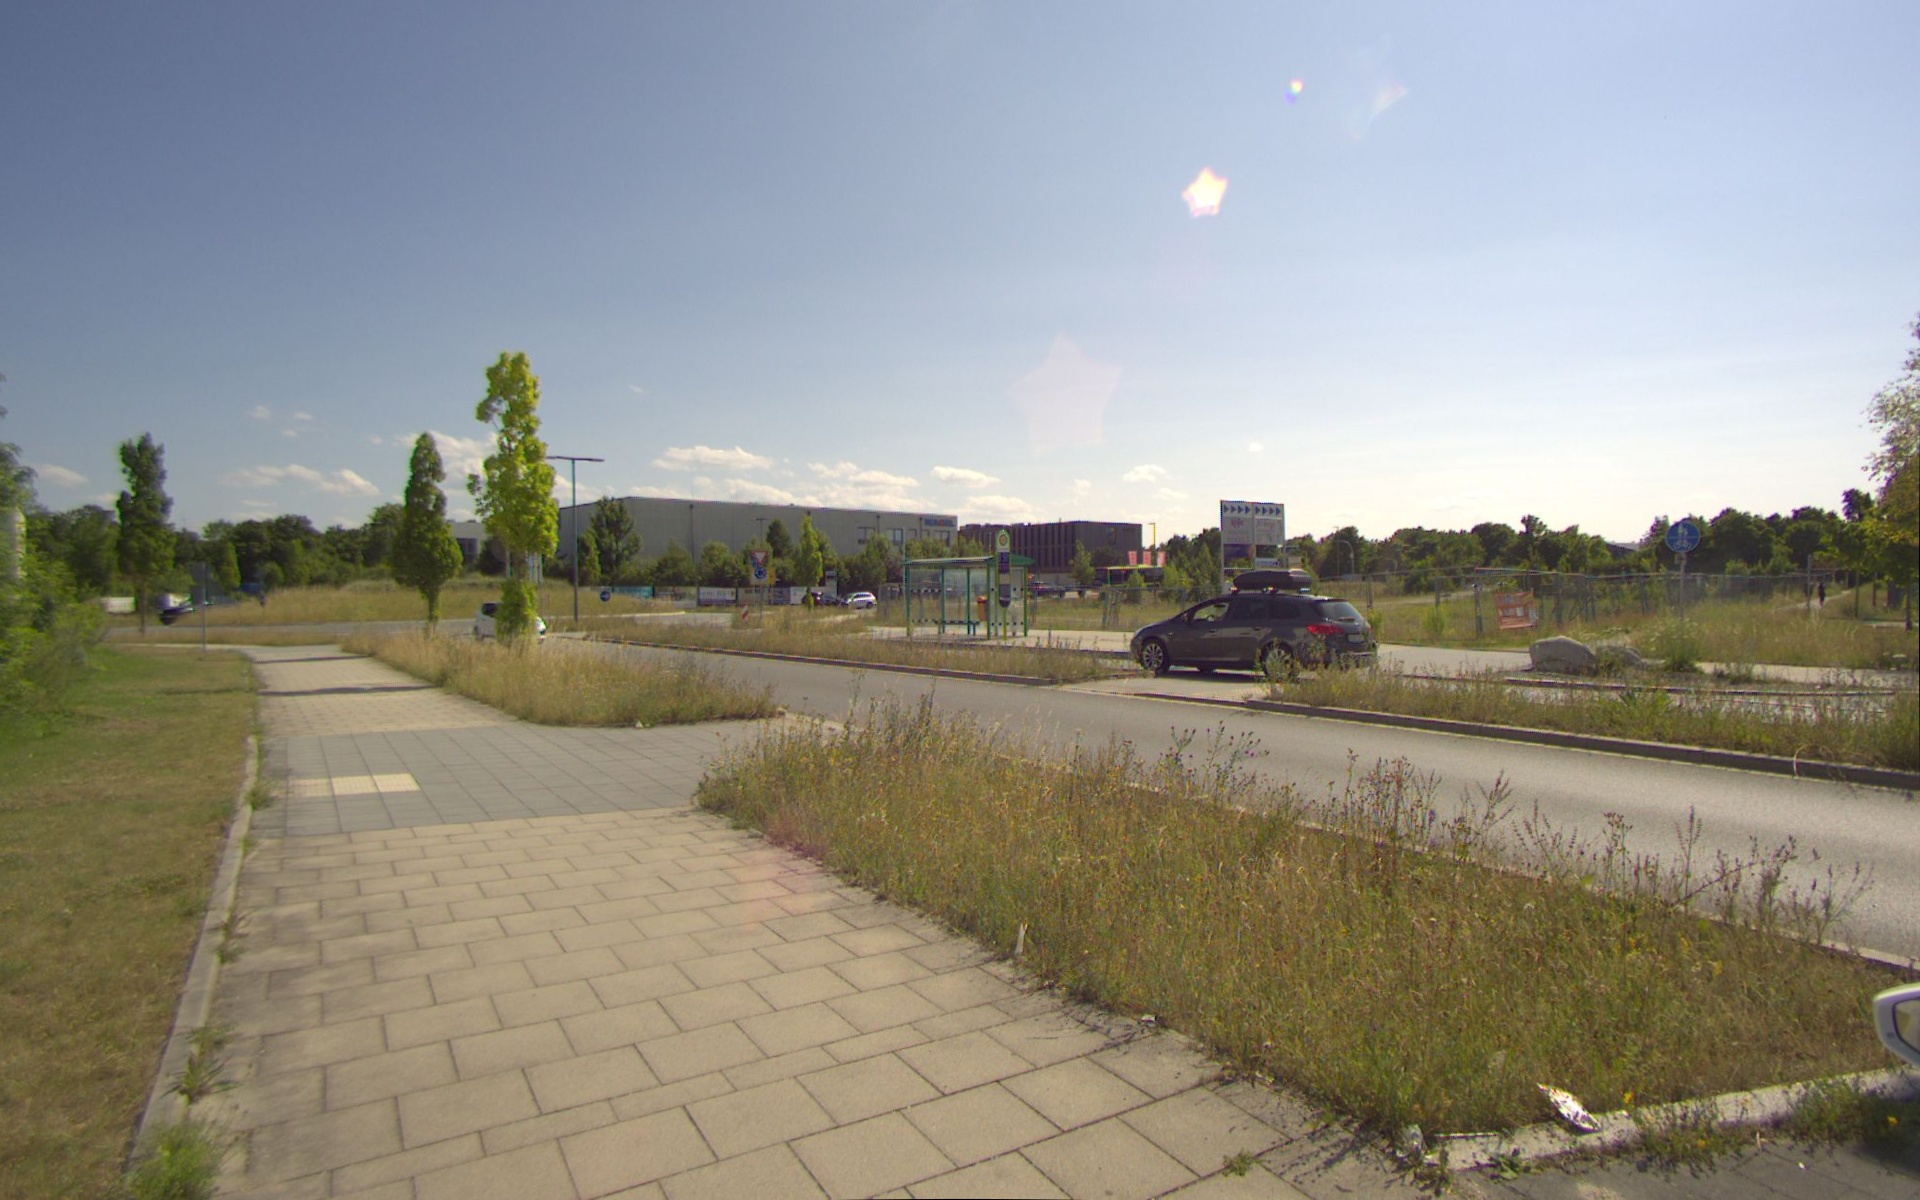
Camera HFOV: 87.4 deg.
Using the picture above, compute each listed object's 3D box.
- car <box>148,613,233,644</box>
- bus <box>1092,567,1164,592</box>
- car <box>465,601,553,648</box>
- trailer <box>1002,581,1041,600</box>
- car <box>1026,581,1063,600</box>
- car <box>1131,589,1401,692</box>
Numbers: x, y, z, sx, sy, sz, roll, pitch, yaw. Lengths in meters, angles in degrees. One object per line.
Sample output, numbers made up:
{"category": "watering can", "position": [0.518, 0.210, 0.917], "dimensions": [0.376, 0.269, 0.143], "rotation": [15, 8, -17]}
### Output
{"category": "car", "position": [-45.455, 1.650, 59.445], "dimensions": [1.806, 1.595, 4.000], "rotation": [-2, 1, 2]}
{"category": "bus", "position": [19.459, -2.425, 115.622], "dimensions": [2.543, 2.772, 11.506], "rotation": [1, 2, 41]}
{"category": "car", "position": [-15.828, 0.840, 35.236], "dimensions": [2.951, 1.510, 1.474], "rotation": [0, 3, 35]}
{"category": "trailer", "position": [6.179, -0.928, 100.707], "dimensions": [1.801, 1.885, 3.979], "rotation": [1, 1, 41]}
{"category": "car", "position": [8.777, -0.958, 103.690], "dimensions": [1.801, 1.885, 3.979], "rotation": [1, 1, 41]}
{"category": "car", "position": [5.237, 0.593, 17.631], "dimensions": [1.983, 1.537, 4.148], "rotation": [0, 1, -39]}
